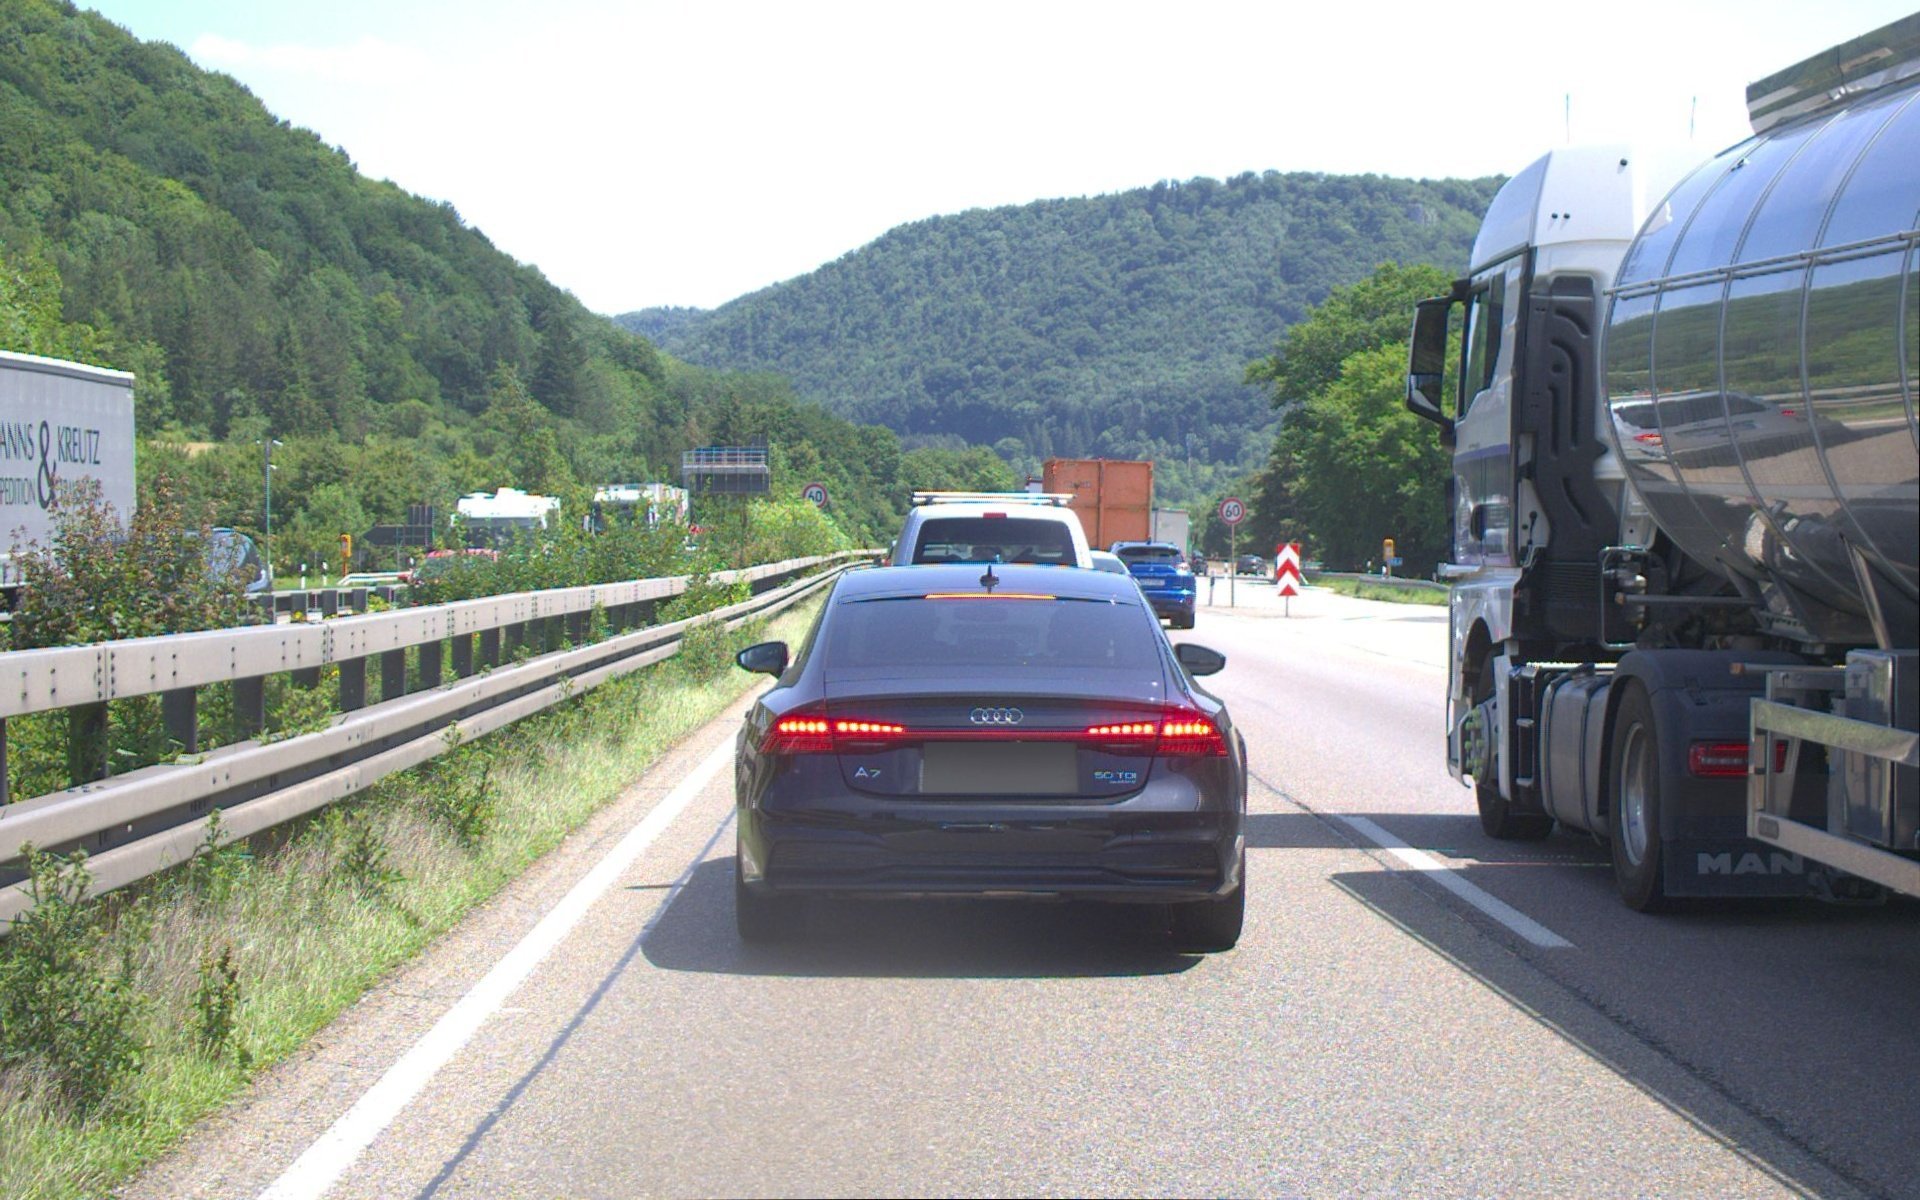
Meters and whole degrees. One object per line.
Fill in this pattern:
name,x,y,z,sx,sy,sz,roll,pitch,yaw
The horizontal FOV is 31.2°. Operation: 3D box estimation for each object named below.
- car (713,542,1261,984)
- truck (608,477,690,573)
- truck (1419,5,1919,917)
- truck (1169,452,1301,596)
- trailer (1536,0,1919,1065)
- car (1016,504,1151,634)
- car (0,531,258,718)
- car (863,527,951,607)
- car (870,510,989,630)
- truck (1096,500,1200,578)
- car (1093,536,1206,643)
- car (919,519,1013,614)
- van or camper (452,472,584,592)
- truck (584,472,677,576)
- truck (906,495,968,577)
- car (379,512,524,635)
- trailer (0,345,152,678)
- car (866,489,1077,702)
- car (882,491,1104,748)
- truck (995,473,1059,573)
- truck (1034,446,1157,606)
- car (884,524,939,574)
car,-0.010,0.524,13.742,1.849,1.483,4.083,1,1,-3
truck,-13.322,-3.200,147.837,2.869,3.967,9.032,1,1,-1
truck,3.921,-0.607,16.823,2.511,3.745,5.246,1,1,-1
truck,8.147,-2.261,103.575,2.817,3.989,14.956,1,1,0
trailer,4.081,-0.495,10.049,2.538,3.722,11.892,1,1,-1
car,1.960,-0.517,55.646,1.993,2.007,4.000,0,1,0
car,-8.623,0.195,35.442,1.922,1.790,4.601,1,1,-1
car,-1.066,-0.698,71.220,1.712,1.613,4.000,0,1,1
car,-0.548,-0.546,59.784,1.993,2.007,4.000,0,1,-1
truck,11.081,-3.548,200.845,3.795,4.399,14.947,0,1,12
car,3.625,-0.227,66.290,1.993,1.996,4.000,0,1,1
car,0.105,-0.746,74.991,1.993,2.007,4.000,0,1,-1
van or camper,-12.719,-1.947,99.526,2.590,3.324,7.648,0,1,2
truck,-13.186,-3.030,138.220,2.869,3.992,10.172,1,1,-1
truck,-0.965,-2.796,150.156,2.628,3.429,11.421,0,1,0
car,-8.676,-0.470,58.950,1.993,2.007,4.335,1,1,-2
trailer,-12.892,-1.084,41.913,2.782,3.986,14.160,1,1,0
car,0.092,-0.080,34.762,1.993,2.007,4.000,1,1,-1
car,0.219,0.106,26.741,1.576,1.827,4.000,1,1,-1
truck,2.371,-2.757,124.473,1.993,3.435,11.812,1,1,0
truck,3.581,-1.999,94.242,2.817,3.989,14.956,1,1,0
car,-1.598,-1.683,113.563,1.712,1.613,4.000,0,1,1
